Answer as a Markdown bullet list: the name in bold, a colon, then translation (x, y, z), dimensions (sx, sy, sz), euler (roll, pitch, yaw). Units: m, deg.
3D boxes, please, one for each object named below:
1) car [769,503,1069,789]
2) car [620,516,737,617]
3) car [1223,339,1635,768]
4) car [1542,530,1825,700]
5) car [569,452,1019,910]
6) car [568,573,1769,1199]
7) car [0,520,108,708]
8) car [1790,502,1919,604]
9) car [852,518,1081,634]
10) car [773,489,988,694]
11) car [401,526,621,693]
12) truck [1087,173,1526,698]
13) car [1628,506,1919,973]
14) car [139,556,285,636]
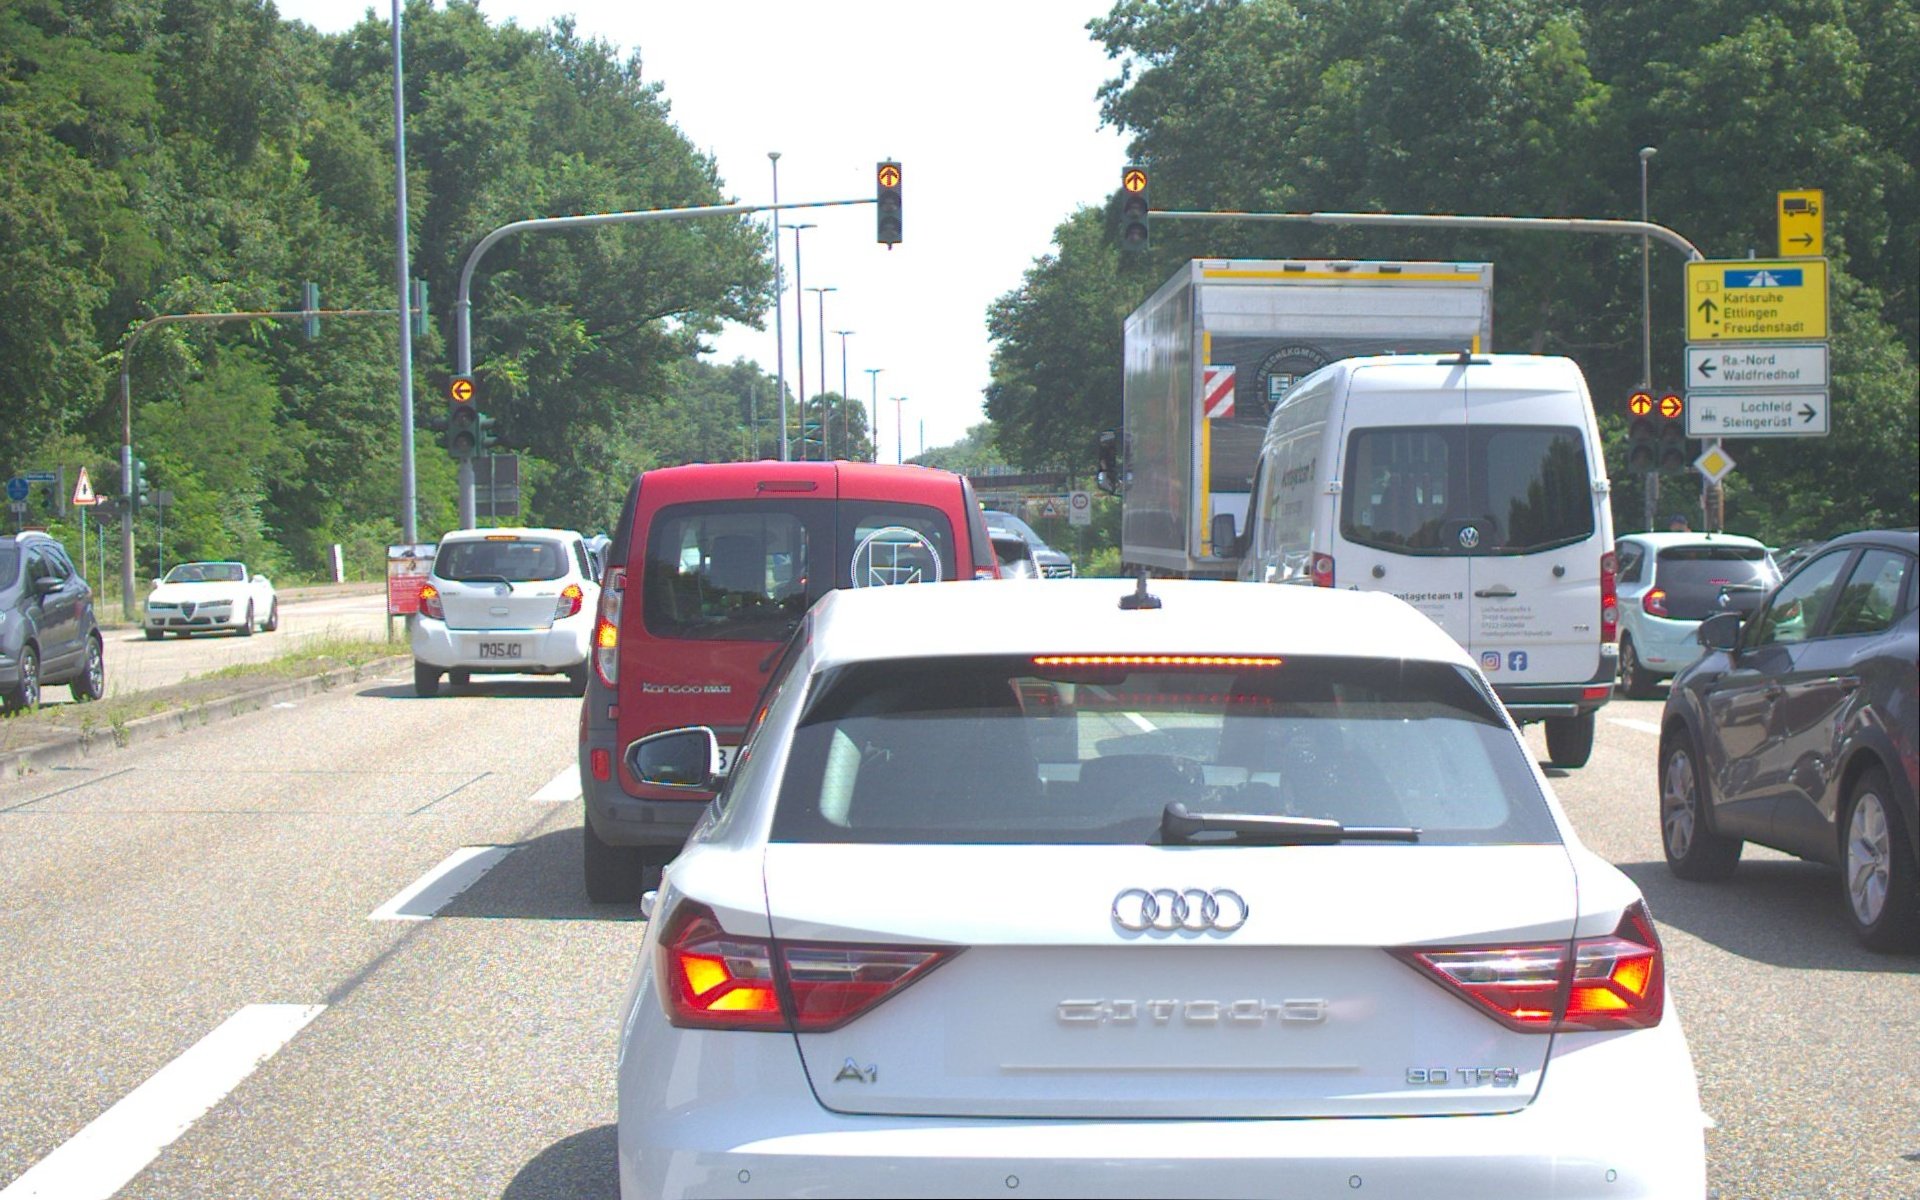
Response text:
- **car**: translation (-0.318, 0.219, 21.667), dimensions (1.711, 1.626, 4.092), euler (0, 1, -2)
- **car**: translation (-5.949, -0.720, 72.236), dimensions (1.993, 2.007, 4.001), euler (-1, 1, -11)
- **car**: translation (3.068, -0.334, 23.571), dimensions (2.031, 2.635, 4.846), euler (0, 1, -2)
- **car**: translation (6.911, 0.096, 33.224), dimensions (1.711, 1.541, 4.092), euler (0, 1, -2)
- **car**: translation (-0.716, 0.266, 15.168), dimensions (1.711, 1.742, 4.092), euler (0, 1, -2)
- **car**: translation (0.218, 0.664, 6.942), dimensions (1.711, 1.381, 4.092), euler (0, 1, -2)
- **car**: translation (-9.014, 0.134, 31.106), dimensions (1.686, 1.594, 3.885), euler (-4, 1, -2)
- **car**: translation (16.399, -0.835, 59.037), dimensions (3.988, 1.683, 1.878), euler (-1, 1, 8)
- **car**: translation (0.088, -0.446, 62.428), dimensions (1.994, 2.007, 3.998), euler (-2, 2, -41)
- **car**: translation (-0.715, -0.111, 29.448), dimensions (1.711, 1.626, 4.092), euler (0, 1, -2)
- **car**: translation (-4.195, 0.039, 32.619), dimensions (1.711, 1.487, 4.092), euler (0, 1, -2)
- **truck**: translation (3.152, -1.519, 34.938), dimensions (3.088, 4.418, 11.581), euler (1, 1, -1)
- **car**: translation (4.008, 0.431, 13.759), dimensions (1.711, 1.587, 4.092), euler (0, 1, -2)
- **car**: translation (-13.355, -0.097, 61.599), dimensions (1.718, 1.258, 4.302), euler (-3, 1, -1)
